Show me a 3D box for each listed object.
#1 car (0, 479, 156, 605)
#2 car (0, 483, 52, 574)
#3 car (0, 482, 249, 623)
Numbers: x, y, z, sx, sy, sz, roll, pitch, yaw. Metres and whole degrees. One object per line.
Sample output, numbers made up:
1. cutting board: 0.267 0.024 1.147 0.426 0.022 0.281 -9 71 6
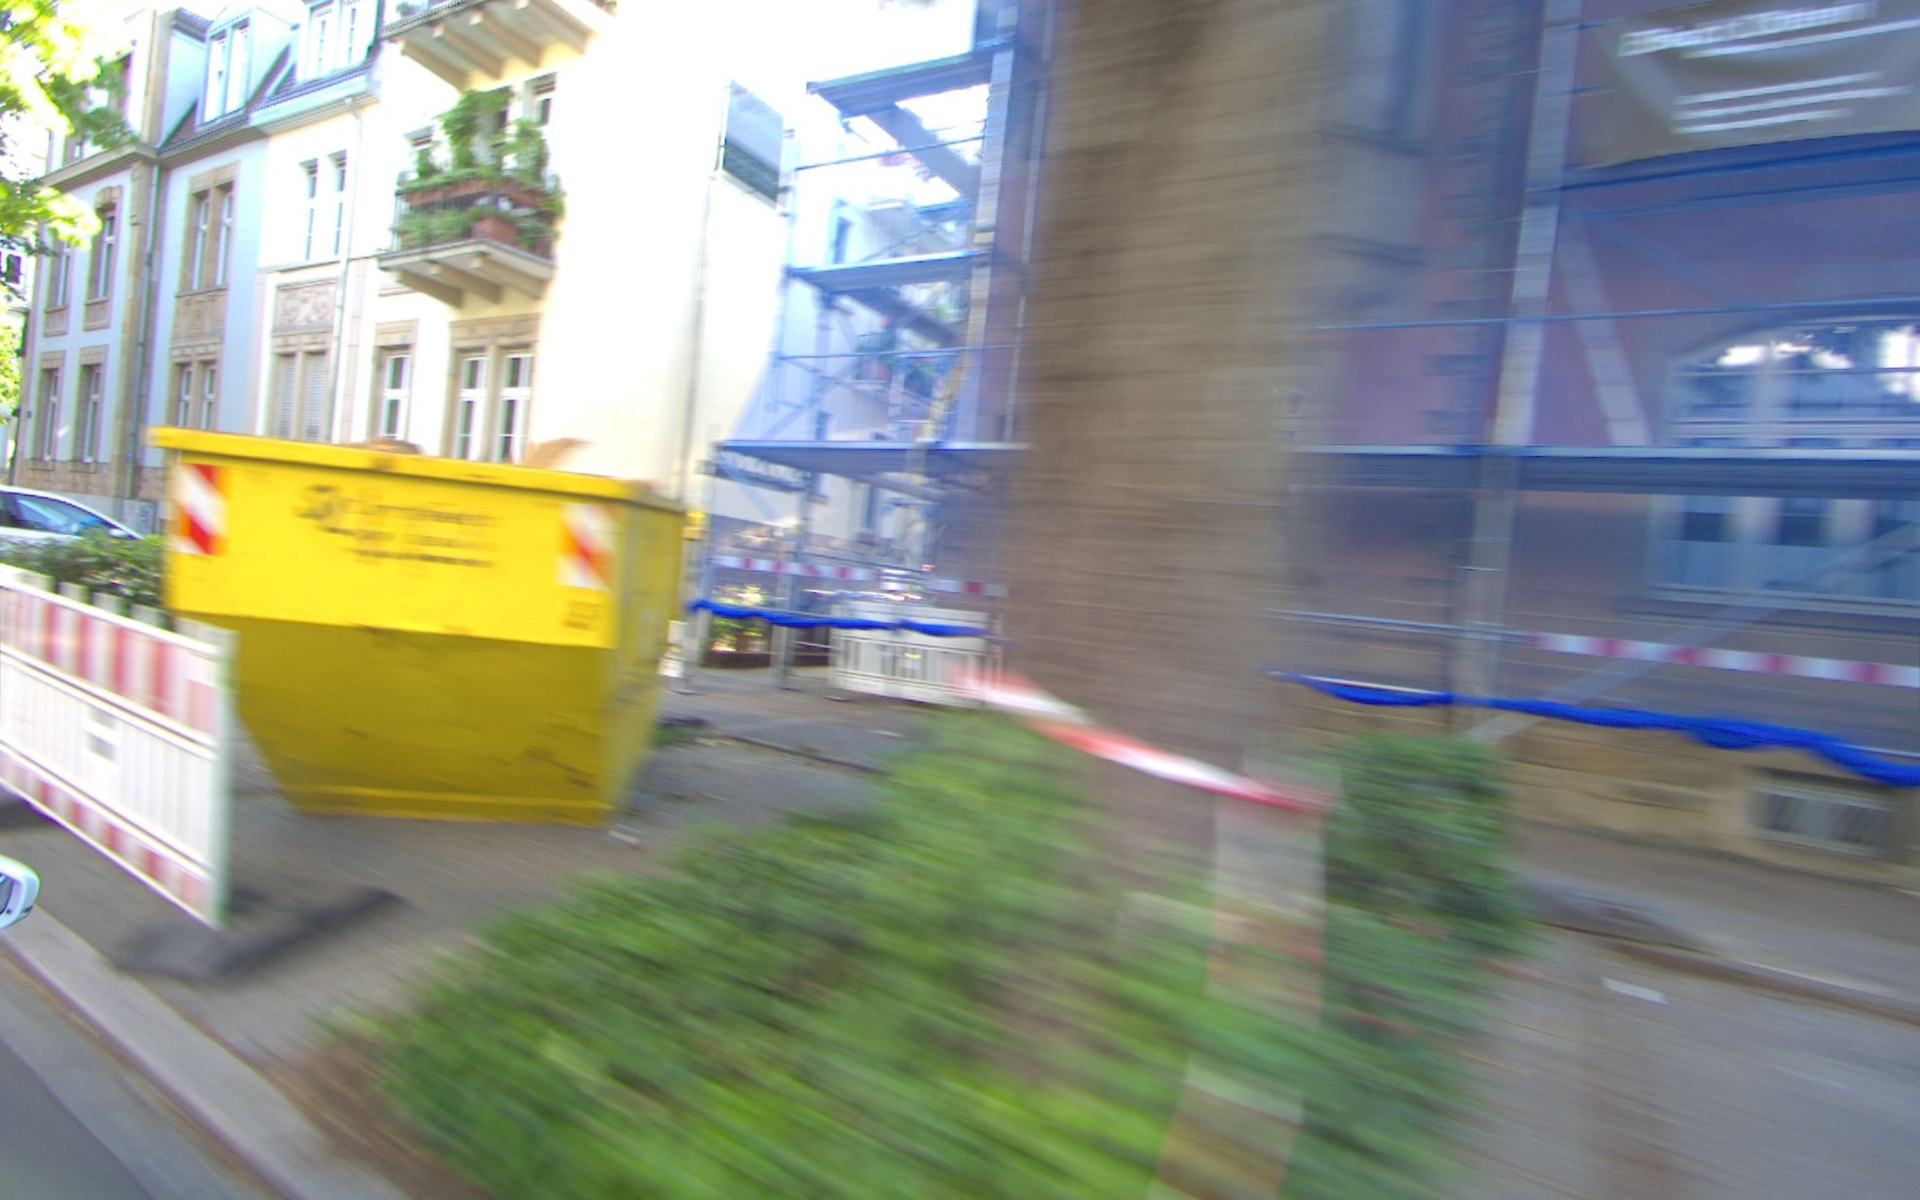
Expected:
1. car: -13.176 -0.861 12.890 1.660 1.555 4.143 7 2 34
2. car: -17.239 -1.325 16.028 1.705 1.482 3.749 7 1 31
3. car: -10.942 -0.602 11.832 1.661 1.481 3.848 7 2 37
